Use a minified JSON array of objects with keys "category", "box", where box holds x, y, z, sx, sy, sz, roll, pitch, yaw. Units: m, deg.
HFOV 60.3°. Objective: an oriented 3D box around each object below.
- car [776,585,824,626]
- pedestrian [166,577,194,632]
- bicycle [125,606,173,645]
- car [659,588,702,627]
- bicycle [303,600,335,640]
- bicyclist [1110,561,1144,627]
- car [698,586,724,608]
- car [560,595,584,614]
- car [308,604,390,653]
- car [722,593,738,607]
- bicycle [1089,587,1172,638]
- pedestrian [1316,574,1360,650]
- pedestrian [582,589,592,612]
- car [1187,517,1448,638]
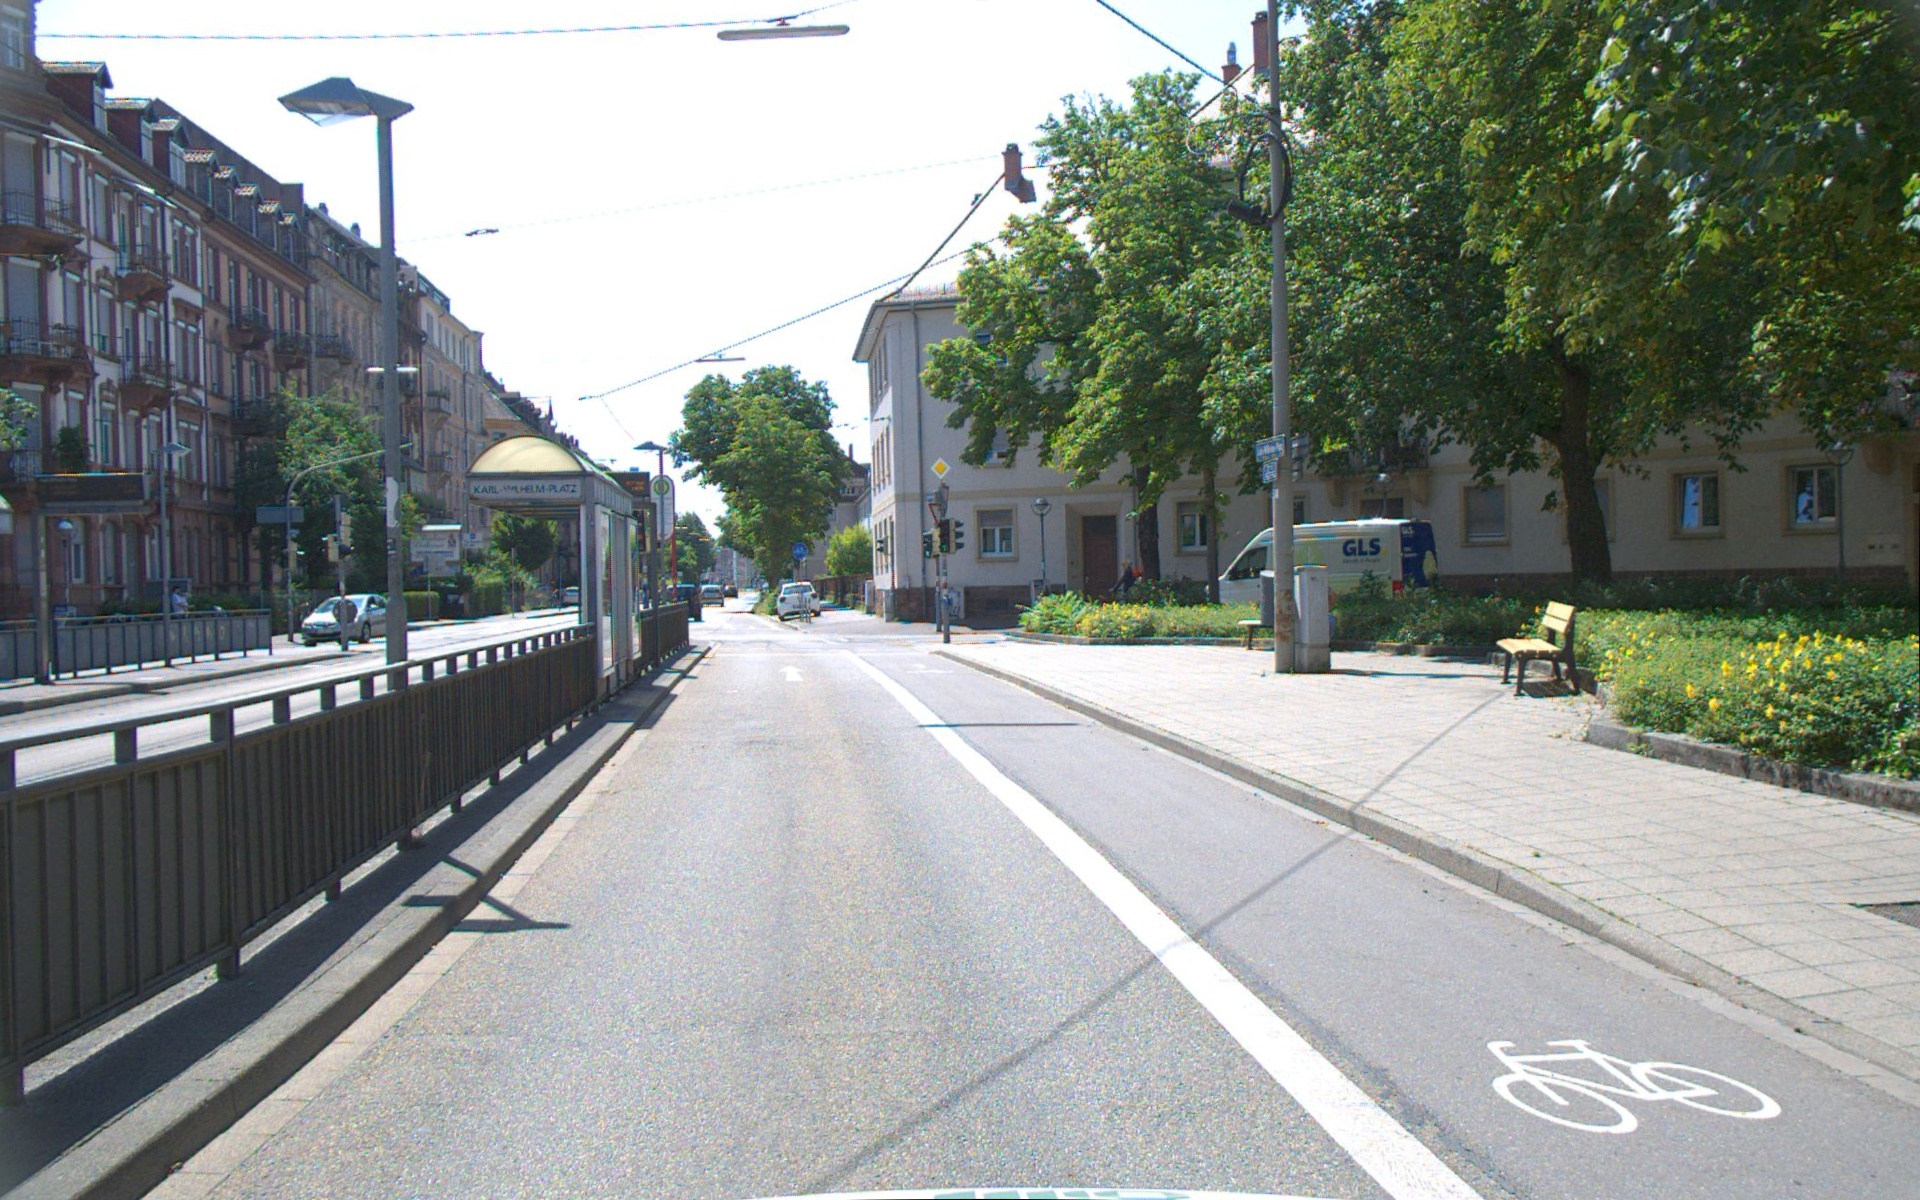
[{"category":"car","box":[-6.627,0.208,68.190,1.715,1.498,3.931,-5,0,-8]},{"category":"pedestrian","box":[-24.016,0.133,50.912,0.461,1.643,0.650,2,2,40]},{"category":"bicycle","box":[-25.822,0.793,52.662,0.356,1.190,1.519,0,1,23]},{"category":"car","box":[-11.407,0.321,67.533,1.496,1.469,3.359,-3,0,-7]},{"category":"bicycle","box":[-23.441,0.729,60.492,0.609,1.420,2.281,-1,0,-33]},{"category":"bicyclist","box":[4.303,-0.142,42.564,0.680,1.675,0.580,-1,0,26]},{"category":"car","box":[-17.375,-0.210,115.633,1.714,1.498,3.931,-2,0,-8]},{"category":"car","box":[-33.682,0.382,143.485,1.654,1.498,3.929,-5,0,-10]},{"category":"car","box":[-17.939,0.823,48.693,1.512,1.362,3.712,-1,0,-9]},{"category":"car","box":[-27.227,-0.020,195.773,1.599,1.498,3.555,-5,0,-10]},{"category":"bicycle","box":[4.373,0.323,42.528,2.040,1.258,0.580,-1,0,26]},{"category":"pedestrian","box":[5.707,0.178,24.994,0.499,1.111,0.478,-3,1,-2]},{"category":"pedestrian","box":[-29.485,0.050,130.678,0.665,1.758,0.676,-1,0,-8]},{"category":"car","box":[8.253,-0.470,38.645,5.749,2.635,1.987,-1,1,44]}]
